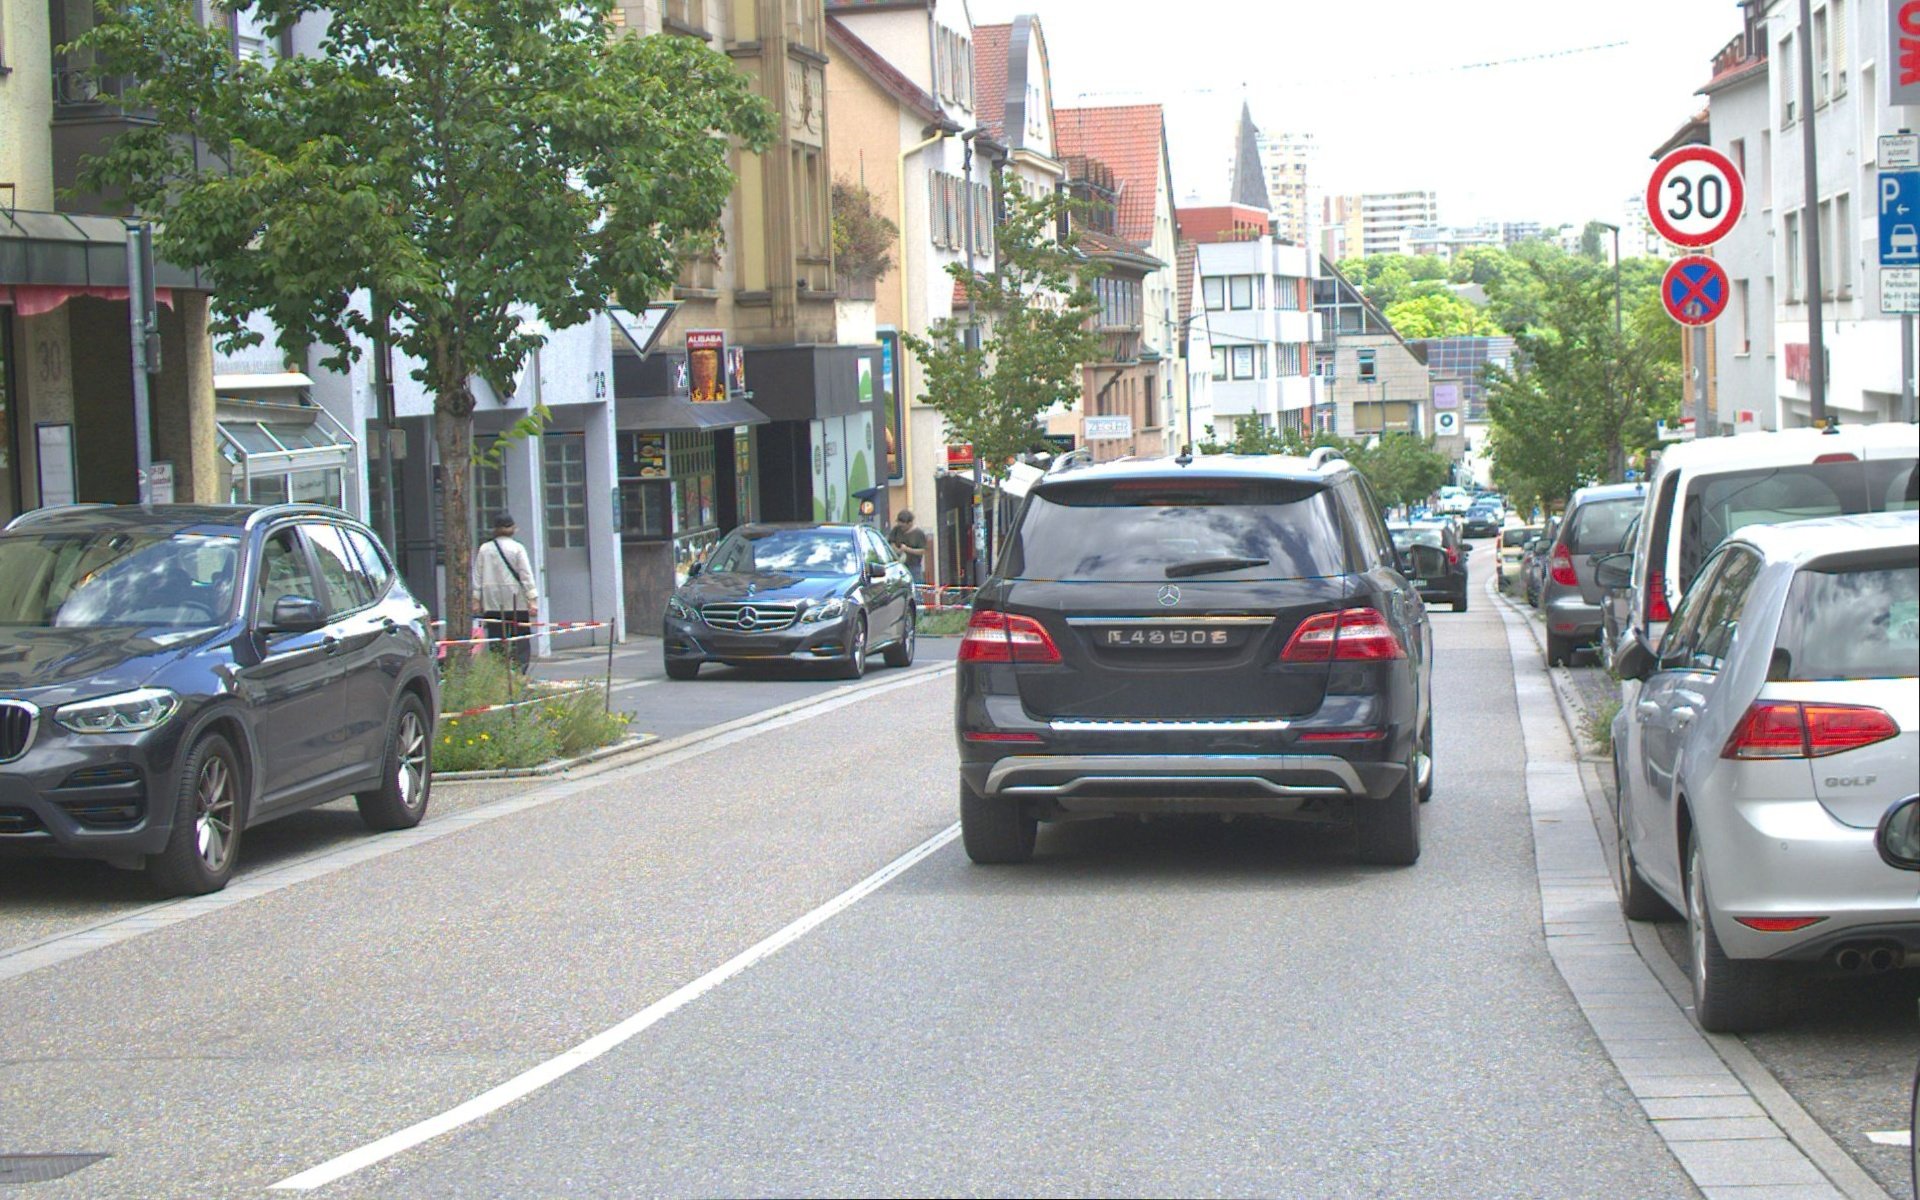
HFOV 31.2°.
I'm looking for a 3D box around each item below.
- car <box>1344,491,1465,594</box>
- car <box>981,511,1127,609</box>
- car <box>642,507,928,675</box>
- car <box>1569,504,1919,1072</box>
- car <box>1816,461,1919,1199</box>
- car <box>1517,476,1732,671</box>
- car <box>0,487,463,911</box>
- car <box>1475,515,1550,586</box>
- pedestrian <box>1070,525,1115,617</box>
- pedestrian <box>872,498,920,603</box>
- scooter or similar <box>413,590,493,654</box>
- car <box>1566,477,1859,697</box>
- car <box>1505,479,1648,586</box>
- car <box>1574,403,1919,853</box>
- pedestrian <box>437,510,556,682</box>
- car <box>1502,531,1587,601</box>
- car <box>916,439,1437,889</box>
[{"bbox_3d":[7.042,-0.918,54.169,1.786,1.535,3.743,-1,1,9],"label":"car"},{"bbox_3d":[1.567,-0.681,55.952,1.927,1.506,4.261,1,2,7],"label":"car"},{"bbox_3d":[-1.611,-0.144,33.472,1.927,1.487,4.841,1,2,7],"label":"car"},{"bbox_3d":[2.965,0.435,10.947,1.703,1.462,3.999,-2,1,6],"label":"car"},{"bbox_3d":[2.327,0.546,4.843,1.804,1.550,3.952,-2,1,9],"label":"car"},{"bbox_3d":[6.041,-0.274,31.540,1.749,1.602,3.799,-3,1,9],"label":"car"},{"bbox_3d":[-3.987,0.322,16.272,2.007,1.688,4.606,0,2,8],"label":"car"},{"bbox_3d":[15.866,-1.435,98.851,1.938,1.885,4.705,-3,1,8],"label":"car"},{"bbox_3d":[2.437,-0.535,63.062,0.737,1.666,0.863,-1,1,6],"label":"pedestrian"},{"bbox_3d":[-0.898,-0.694,48.071,0.491,1.458,0.558,1,1,18],"label":"pedestrian"},{"bbox_3d":[-4.299,0.184,29.184,0.525,0.517,0.573,1,1,8],"label":"scooter or similar"},{"bbox_3d":[5.762,-0.133,26.715,1.748,1.503,3.874,-3,1,6],"label":"car"},{"bbox_3d":[9.781,-1.041,54.764,1.748,1.492,3.799,-4,-1,4],"label":"car"},{"bbox_3d":[3.921,0.052,16.106,1.877,1.793,4.730,-1,1,12],"label":"car"},{"bbox_3d":[-4.025,-0.040,29.899,0.826,1.458,0.810,1,1,8],"label":"pedestrian"},{"bbox_3d":[13.858,-0.830,81.650,1.749,1.460,4.073,-5,1,8],"label":"car"},{"bbox_3d":[1.130,0.216,15.610,1.944,1.734,4.177,-1,1,9],"label":"car"}]
